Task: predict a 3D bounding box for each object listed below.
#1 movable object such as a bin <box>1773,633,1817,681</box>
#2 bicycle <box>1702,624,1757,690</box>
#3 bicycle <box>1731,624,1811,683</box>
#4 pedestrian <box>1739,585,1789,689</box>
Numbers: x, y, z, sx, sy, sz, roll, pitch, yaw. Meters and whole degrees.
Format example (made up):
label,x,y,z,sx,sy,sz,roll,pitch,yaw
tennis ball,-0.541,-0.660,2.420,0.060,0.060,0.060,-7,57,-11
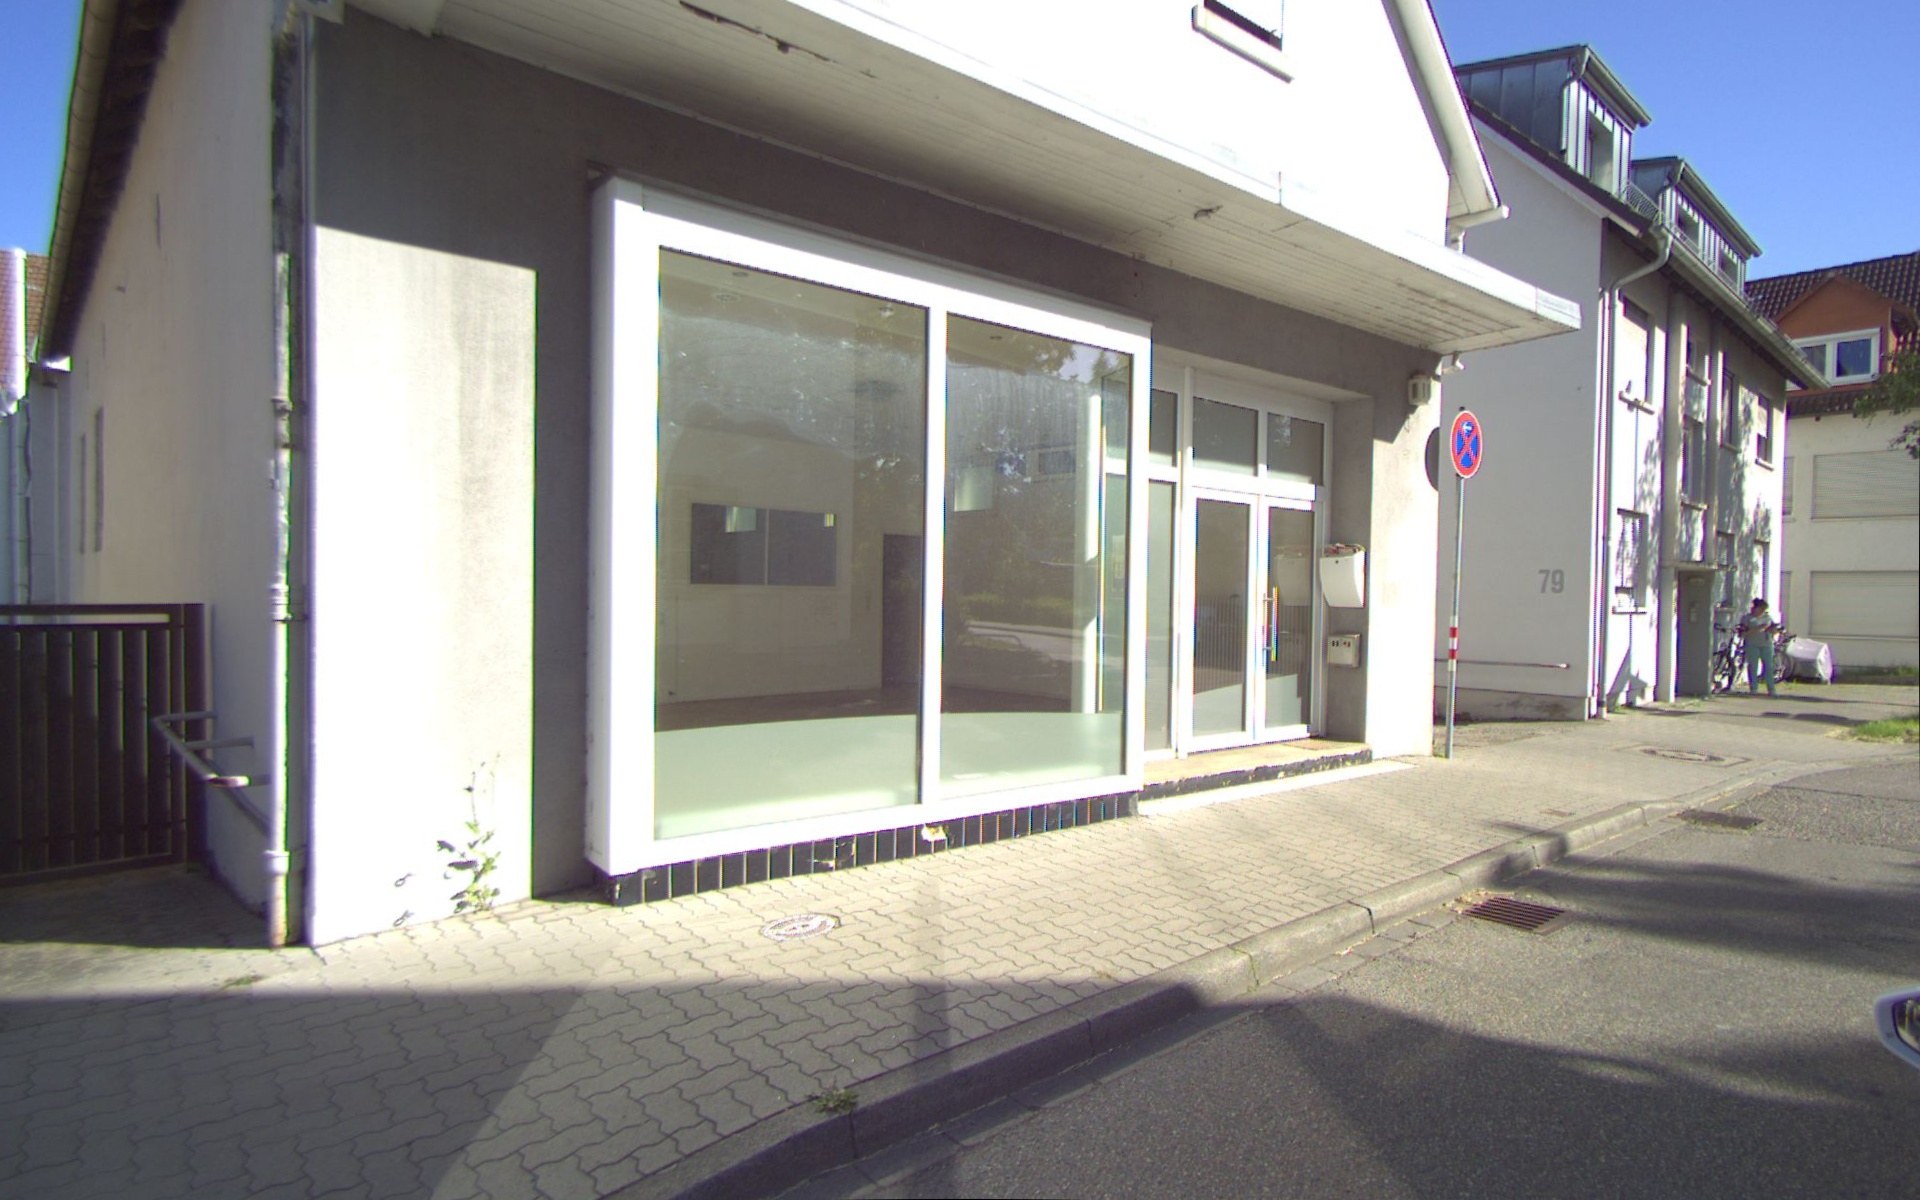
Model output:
label,x,y,z,sx,sy,sz,roll,pitch,yaw
movable object such as a bin,17.520,1.179,21.075,0.656,0.958,0.619,2,0,-43
bicycle,13.132,0.964,17.130,1.369,1.066,0.420,2,-1,-39
bicycle,15.664,1.031,19.389,2.013,1.066,0.575,2,-1,-32
pedestrian,13.521,0.619,16.892,0.551,1.715,0.480,3,0,-35
